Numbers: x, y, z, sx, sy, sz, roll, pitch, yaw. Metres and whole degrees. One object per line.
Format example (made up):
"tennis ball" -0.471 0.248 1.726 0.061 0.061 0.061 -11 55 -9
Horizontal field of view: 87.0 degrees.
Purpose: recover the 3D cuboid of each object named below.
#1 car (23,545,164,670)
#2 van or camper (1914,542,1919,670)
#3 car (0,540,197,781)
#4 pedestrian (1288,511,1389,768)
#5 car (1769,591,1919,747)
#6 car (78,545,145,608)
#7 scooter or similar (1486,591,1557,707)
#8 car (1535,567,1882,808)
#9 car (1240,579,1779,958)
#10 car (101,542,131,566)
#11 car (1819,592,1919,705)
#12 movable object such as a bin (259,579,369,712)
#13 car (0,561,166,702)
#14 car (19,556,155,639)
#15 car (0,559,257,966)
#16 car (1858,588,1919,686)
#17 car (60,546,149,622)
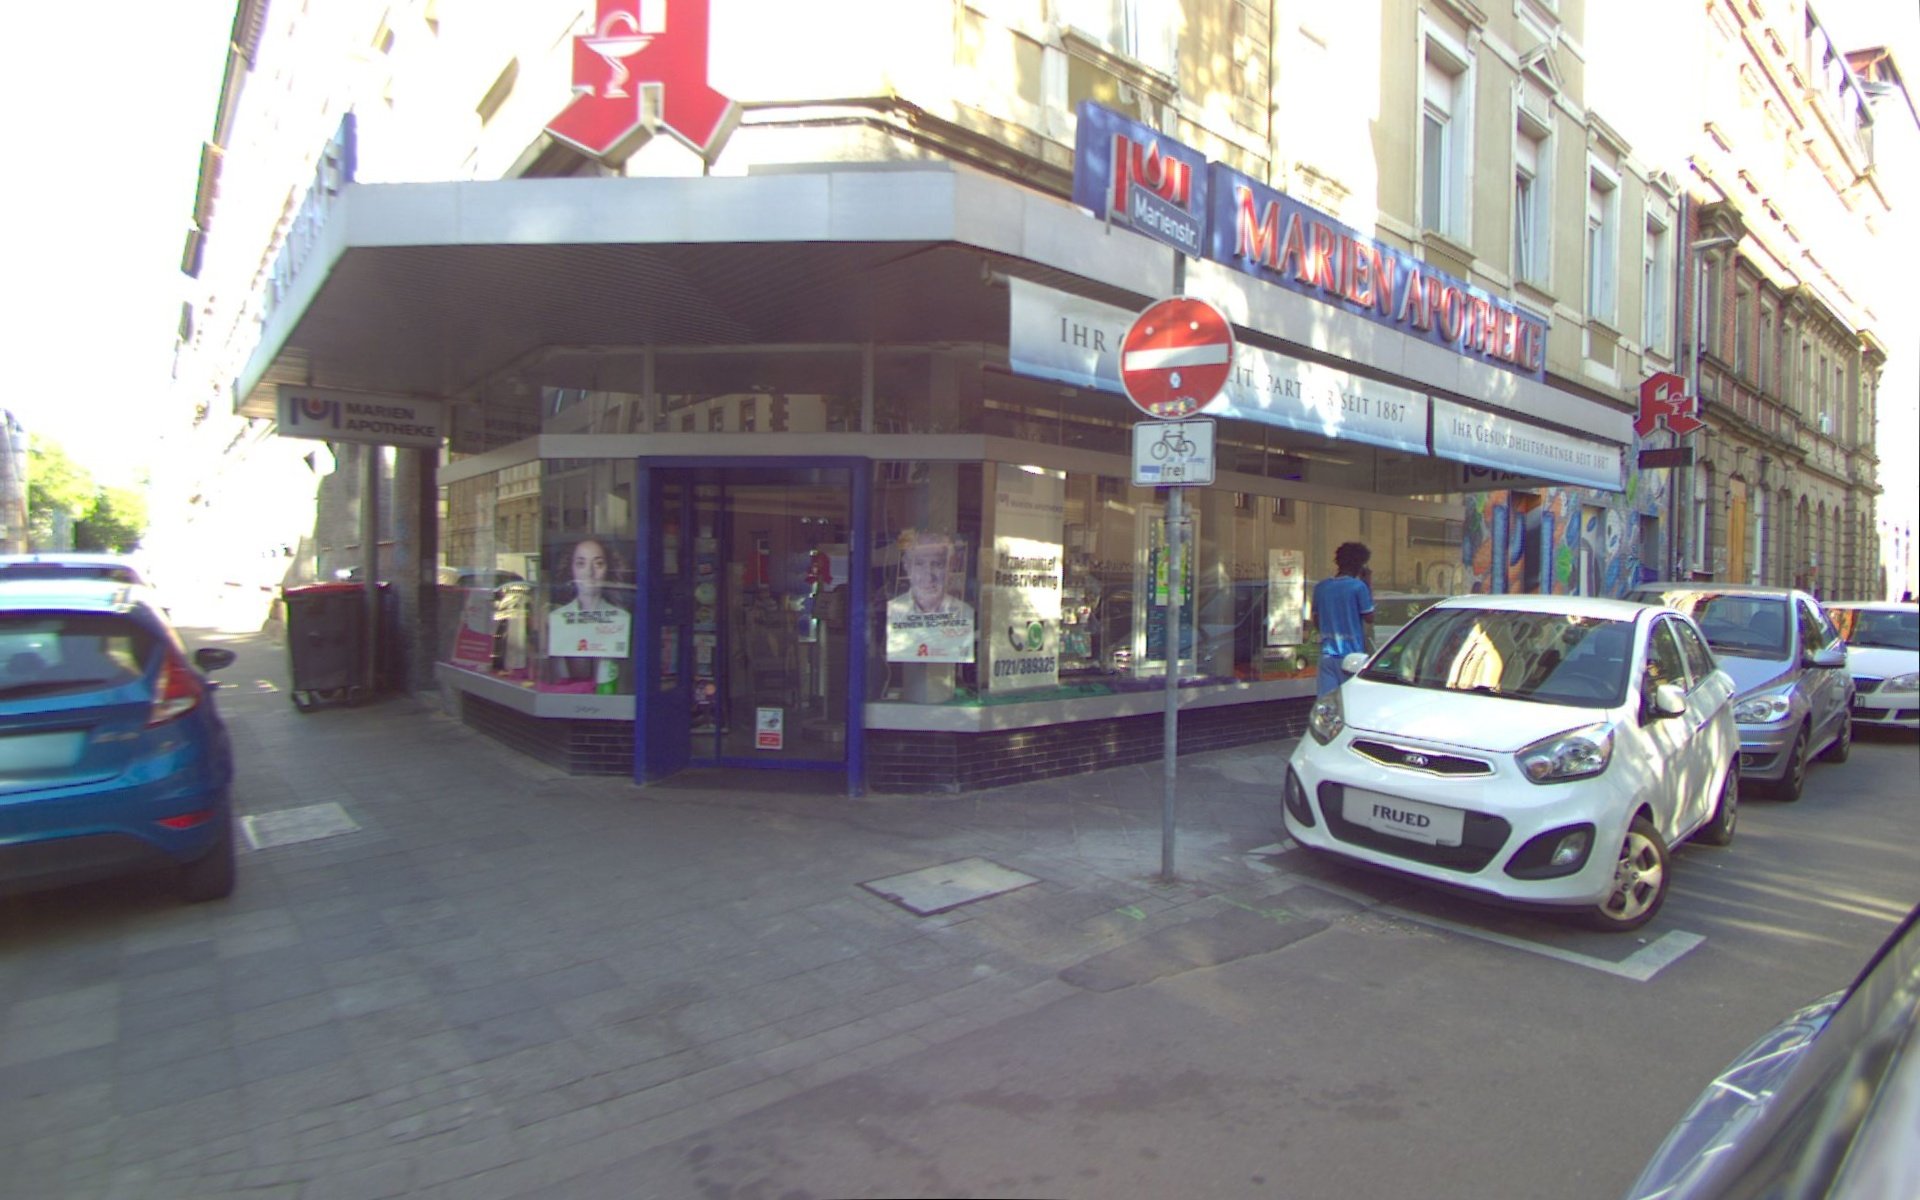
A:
"car" -13.688 0.030 16.095 1.532 1.739 3.986 -1 2 -39
"van or camper" 22.815 0.095 22.273 5.873 2.665 1.997 -1 1 -40
"car" -7.542 0.364 8.543 1.601 1.650 3.743 0 1 -39
"pedestrian" 2.964 0.286 7.937 0.521 1.917 0.563 0 0 -40
"car" 11.032 0.687 11.931 4.126 1.545 1.557 -1 1 -40
"car" -29.378 -0.794 35.049 1.701 2.057 4.193 -1 1 -40
"scooter or similar" 6.576 0.541 11.840 1.018 1.296 0.395 -1 1 -40
"car" 6.773 0.572 9.001 3.994 1.671 1.702 -1 1 -41
"car" 3.311 0.626 5.805 3.580 1.481 1.691 -1 1 -43
"car" -74.867 -4.055 89.760 1.965 2.039 3.994 -1 1 -41
"car" 14.423 0.648 15.191 3.841 1.505 1.591 -1 1 -38
"movable object such as a bin" -6.781 0.433 10.619 0.847 1.300 1.019 -2 1 -39
"car" -10.819 0.261 12.480 1.532 1.473 3.986 -1 2 -39
"car" -17.881 -0.079 20.807 1.965 1.545 3.634 -1 1 -40
"car" -4.745 0.548 5.054 1.757 1.504 3.582 0 2 -39
"car" 18.321 0.624 18.666 4.483 1.667 1.998 -1 1 -40
"car" -22.932 -0.431 27.155 1.701 1.895 3.938 -1 1 -40
